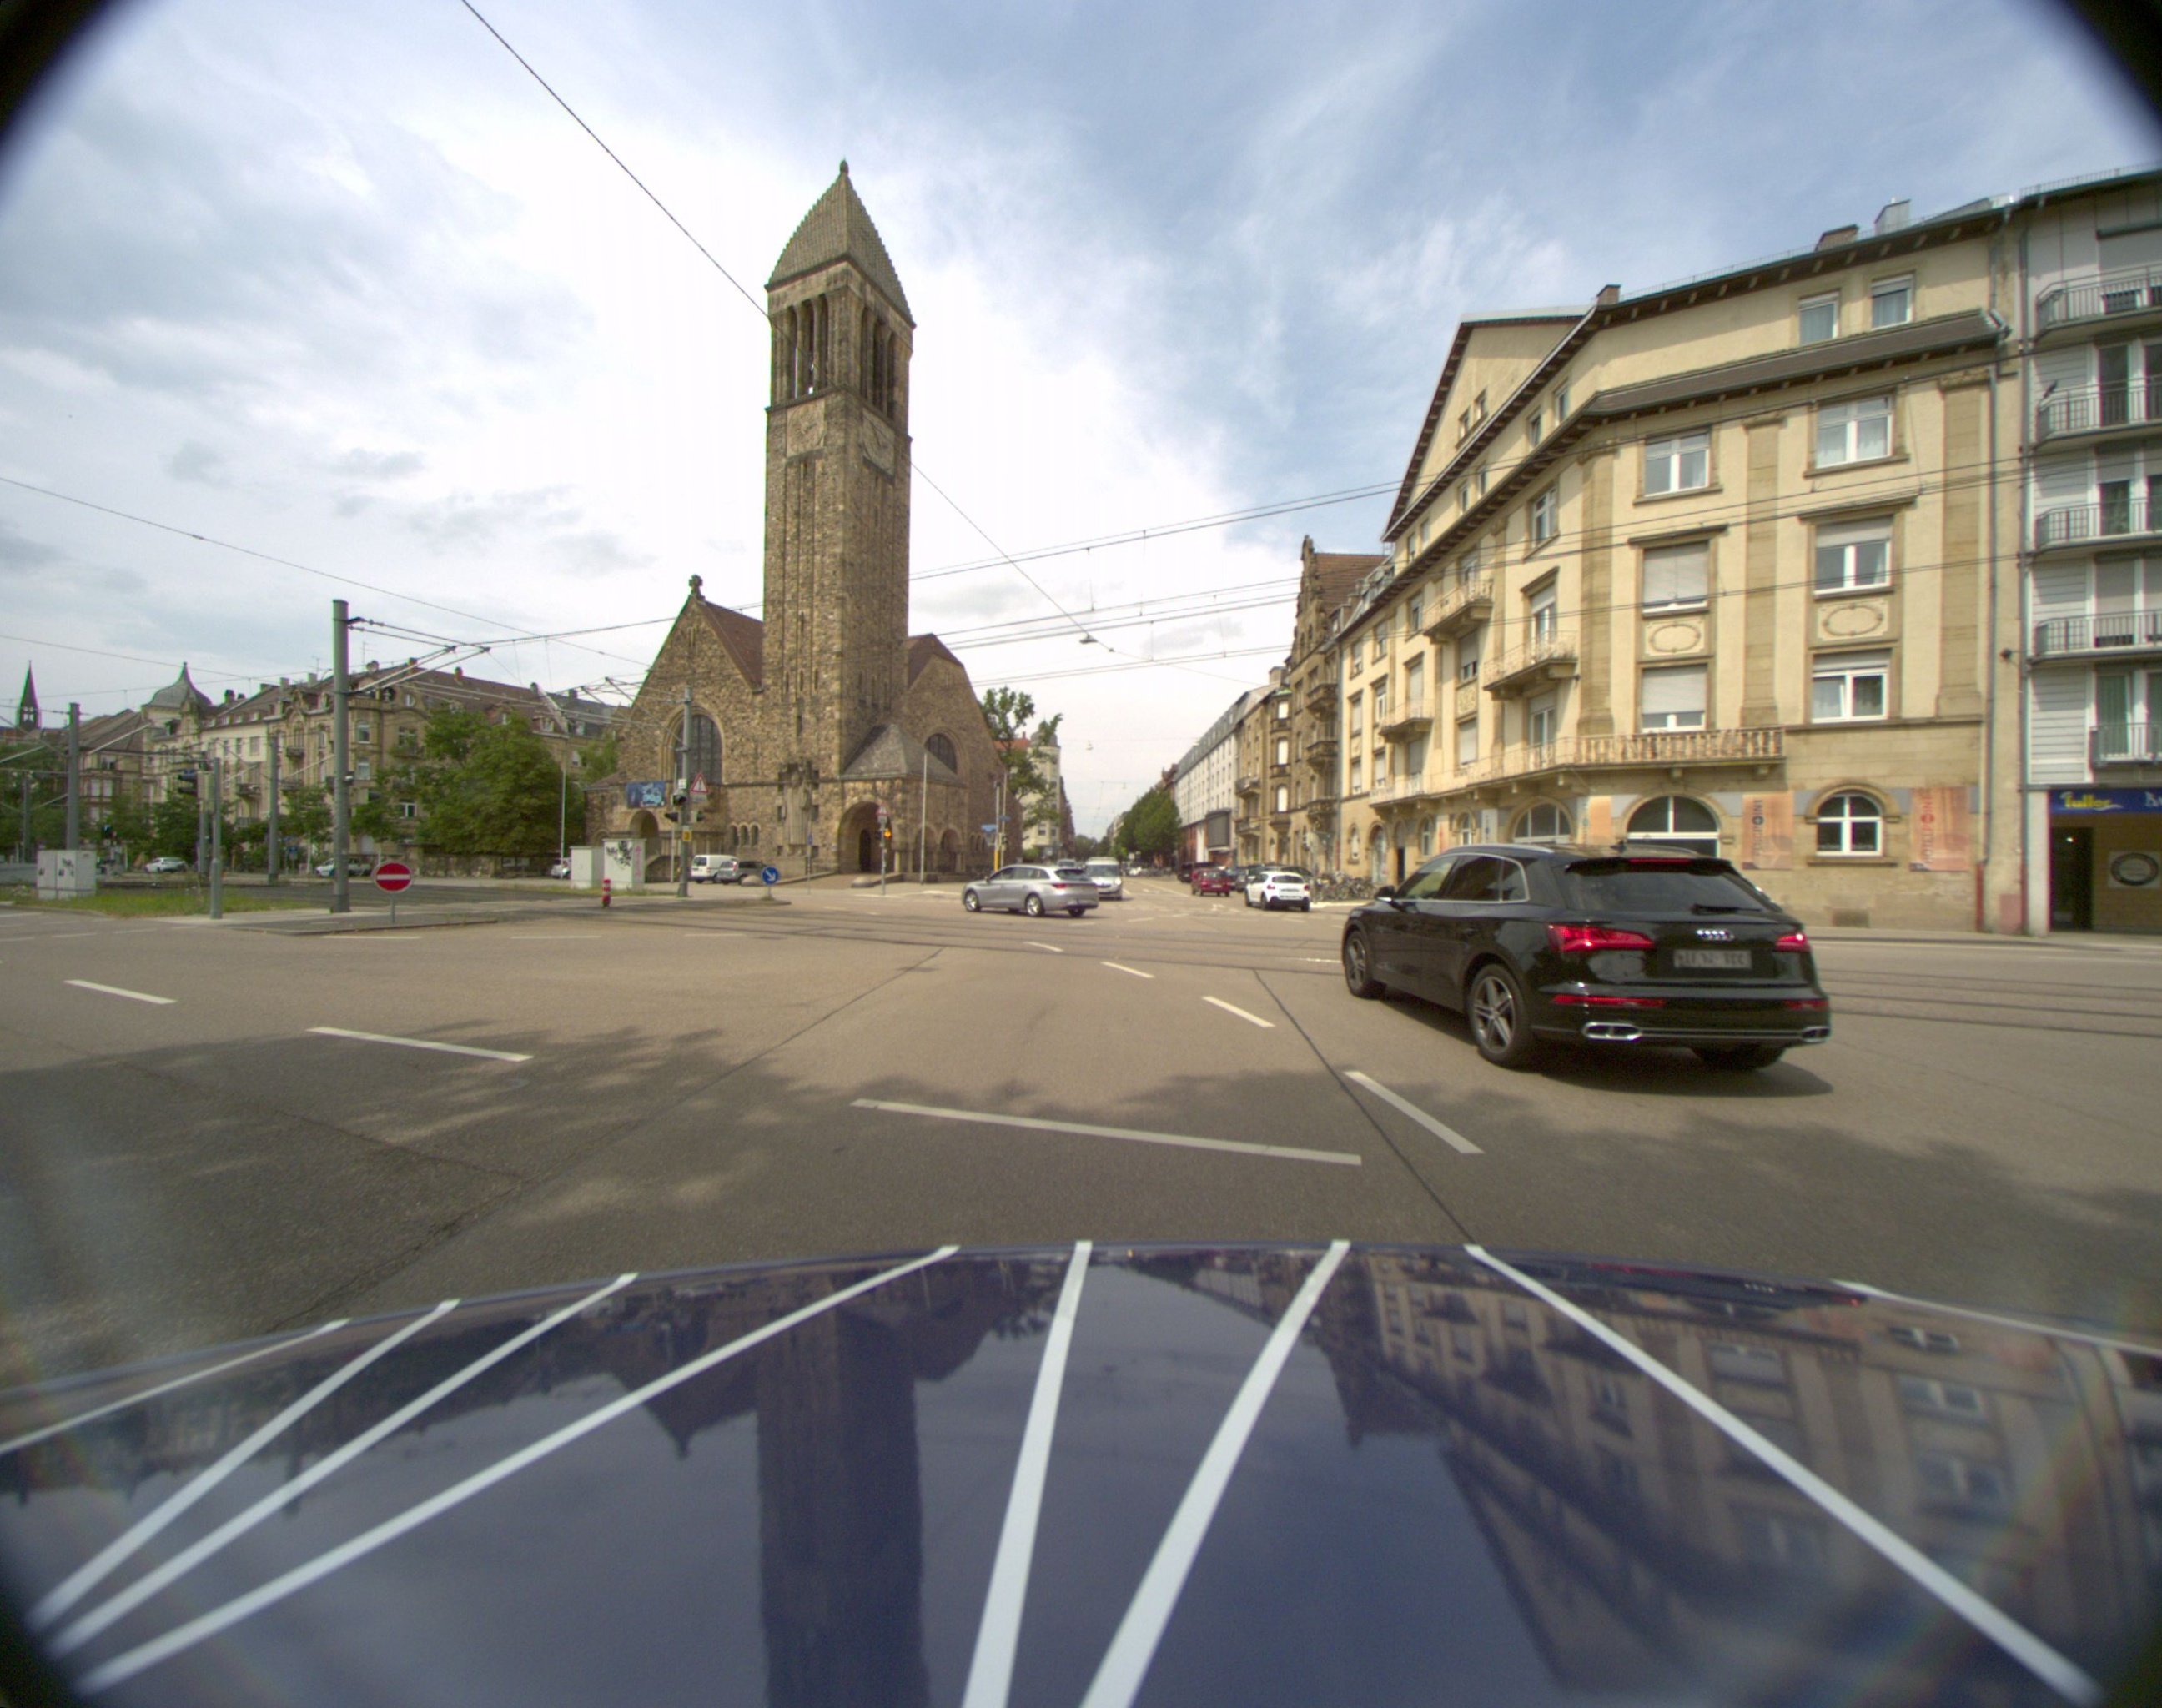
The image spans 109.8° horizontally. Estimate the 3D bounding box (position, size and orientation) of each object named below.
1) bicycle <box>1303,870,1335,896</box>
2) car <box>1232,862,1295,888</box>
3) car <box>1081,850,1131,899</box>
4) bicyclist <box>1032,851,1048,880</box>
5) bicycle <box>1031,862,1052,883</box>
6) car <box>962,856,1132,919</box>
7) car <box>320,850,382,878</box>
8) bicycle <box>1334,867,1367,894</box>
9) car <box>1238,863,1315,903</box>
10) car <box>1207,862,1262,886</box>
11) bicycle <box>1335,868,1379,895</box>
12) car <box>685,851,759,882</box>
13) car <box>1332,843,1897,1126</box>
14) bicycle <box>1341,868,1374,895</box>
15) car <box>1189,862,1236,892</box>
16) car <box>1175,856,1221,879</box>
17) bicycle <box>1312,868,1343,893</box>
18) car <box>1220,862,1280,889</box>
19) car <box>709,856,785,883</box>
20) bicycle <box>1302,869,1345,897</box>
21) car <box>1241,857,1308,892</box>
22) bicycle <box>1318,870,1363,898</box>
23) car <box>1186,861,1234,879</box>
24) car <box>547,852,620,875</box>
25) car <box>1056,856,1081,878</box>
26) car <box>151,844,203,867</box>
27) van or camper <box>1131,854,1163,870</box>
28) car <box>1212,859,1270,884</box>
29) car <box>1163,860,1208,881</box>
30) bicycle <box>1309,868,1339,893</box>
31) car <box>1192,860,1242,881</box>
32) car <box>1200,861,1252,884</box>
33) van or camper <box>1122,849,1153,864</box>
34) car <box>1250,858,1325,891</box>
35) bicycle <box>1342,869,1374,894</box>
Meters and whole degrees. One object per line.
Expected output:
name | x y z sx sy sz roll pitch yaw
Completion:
bicycle | 11.078 1.344 35.364 1.345 1.185 0.397 -1 0 -3
car | 11.307 1.296 46.986 3.836 1.526 1.754 1 -1 -38
car | 1.100 0.867 33.996 2.082 2.039 4.681 1 0 2
bicyclist | -2.149 0.617 40.164 0.588 1.488 0.840 -1 0 14
bicycle | -2.089 0.988 40.385 0.598 1.079 1.814 -1 0 14
car | -1.056 0.856 21.121 4.833 1.515 1.773 1 0 41
car | -54.422 0.739 56.641 3.989 2.002 2.004 1 0 25
bicycle | 12.569 1.240 35.469 1.345 1.185 0.397 -2 0 -6
car | 7.479 1.059 29.456 1.739 1.423 4.240 1 -1 -2
car | 11.467 1.482 56.664 3.834 1.526 1.755 -2 -1 -34
bicycle | 12.416 1.242 34.221 1.830 1.185 0.397 -1 -1 0
car | -23.179 0.782 49.207 1.995 1.870 3.961 1 0 25
car | 3.831 0.767 6.627 1.827 1.637 4.427 0 0 0
bicycle | 12.693 1.252 34.857 1.345 1.185 0.397 -2 0 -6
car | 7.204 1.227 41.998 1.768 1.515 3.999 2 0 -1
car | 10.553 1.177 68.261 3.834 1.882 1.755 -2 -1 -34
bicycle | 11.830 1.284 36.451 1.345 1.185 0.397 1 0 -1
car | 11.183 1.407 50.168 3.835 1.526 1.755 -2 -2 -38
car | -20.886 0.947 47.627 1.995 1.641 4.007 1 0 25
bicycle | 11.098 1.303 34.786 1.821 1.185 0.397 -3 0 -3
car | 11.309 1.192 44.290 3.835 1.808 1.755 -2 -2 -38
bicycle | 11.397 1.297 33.417 1.872 1.185 0.456 0 0 20
car | 11.113 1.400 65.366 3.835 1.526 1.755 1 -1 -34
car | -36.229 0.664 55.442 1.995 1.631 3.961 1 0 25
car | -1.085 1.169 70.082 2.082 1.852 4.681 1 0 2
car | -82.863 0.140 69.635 3.990 2.002 2.003 1 0 23
van or camper | 8.666 1.018 100.341 3.998 2.002 1.999 1 0 -2
car | 11.186 1.226 53.035 3.834 1.526 1.755 -2 -1 -34
car | 9.766 1.533 70.935 3.834 1.675 1.755 -2 -1 -34
bicycle | 11.820 1.276 36.953 1.345 1.185 0.397 -1 0 -5
car | 11.249 1.373 62.680 3.834 1.526 1.755 -2 -1 -34
car | 11.321 1.446 59.321 3.834 1.526 1.755 -2 -1 -34
van or camper | 8.087 0.379 108.889 4.000 2.002 1.998 1 0 -8
car | 11.196 1.104 41.109 4.043 1.579 1.755 -2 -2 -38
bicycle | 13.098 1.308 35.935 1.345 1.185 0.397 1 0 -1
